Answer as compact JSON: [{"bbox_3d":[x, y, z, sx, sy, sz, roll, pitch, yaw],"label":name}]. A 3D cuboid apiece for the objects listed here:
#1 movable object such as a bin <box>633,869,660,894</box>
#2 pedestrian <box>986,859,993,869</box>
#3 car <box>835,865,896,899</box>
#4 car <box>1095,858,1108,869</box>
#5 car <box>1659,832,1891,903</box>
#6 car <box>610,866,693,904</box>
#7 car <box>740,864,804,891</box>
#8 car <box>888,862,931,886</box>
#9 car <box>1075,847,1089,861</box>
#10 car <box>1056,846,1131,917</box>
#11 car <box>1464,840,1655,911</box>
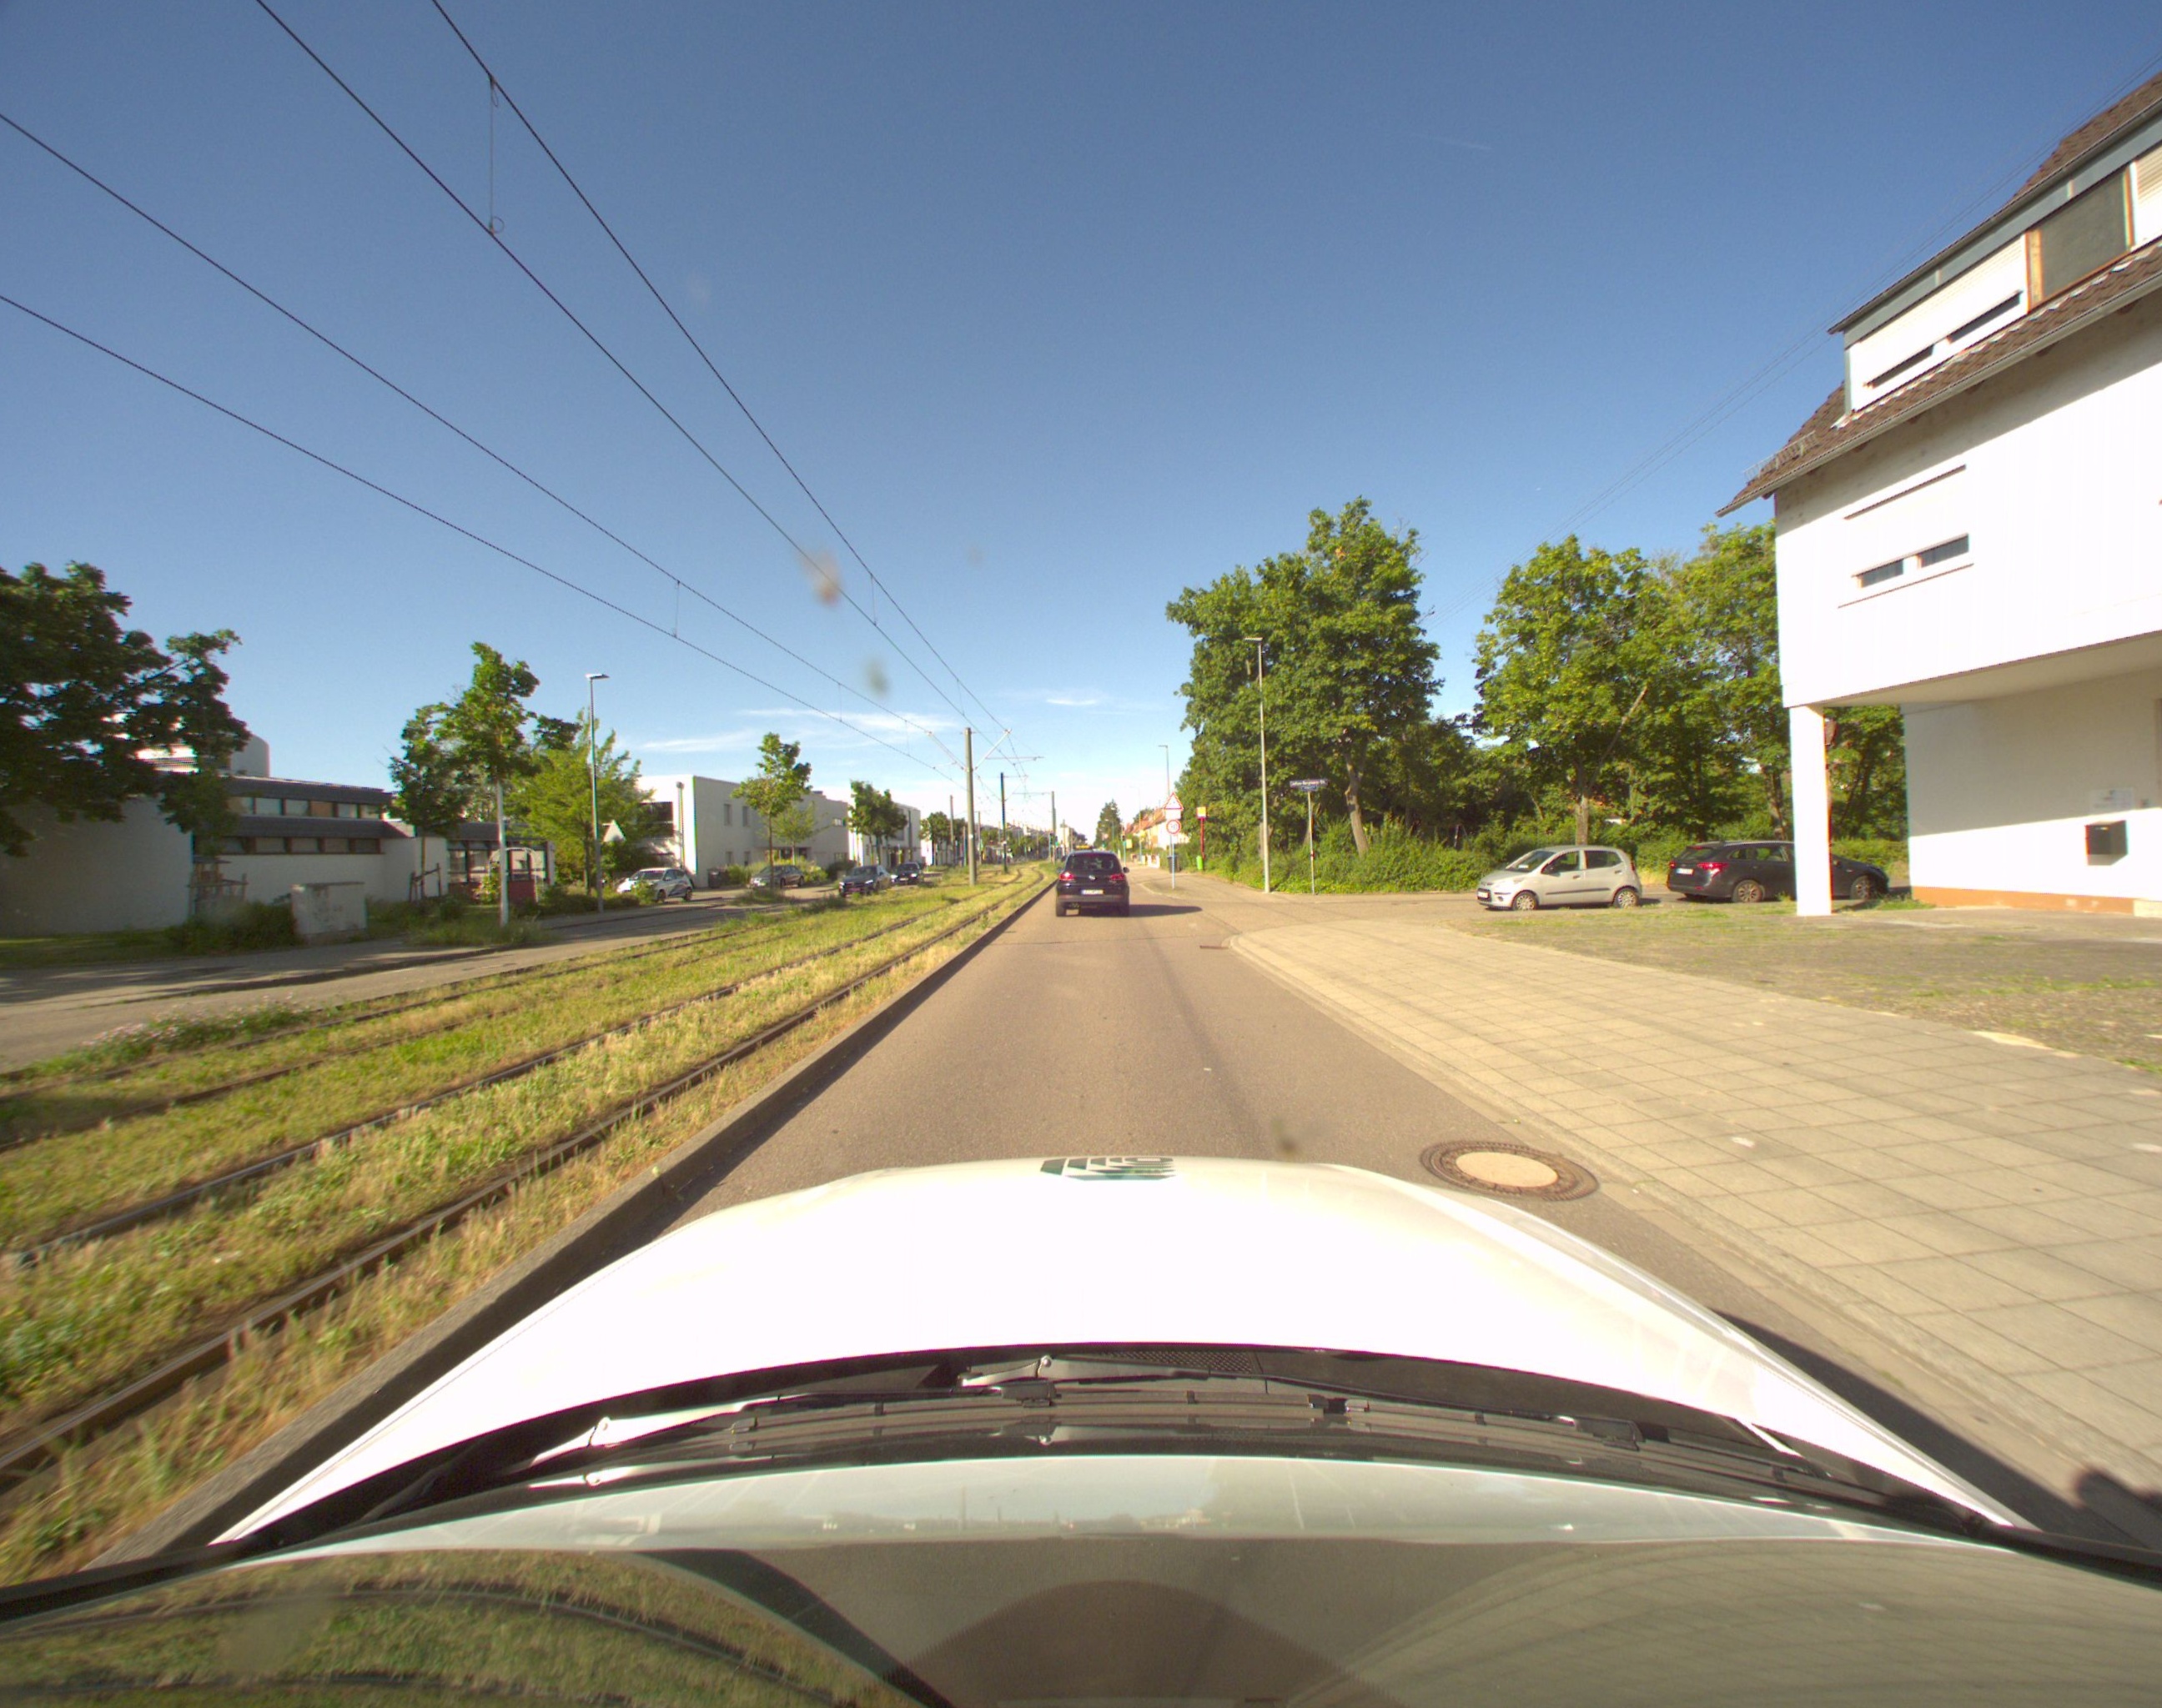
[{"bbox_3d":[-25.460,1.598,47.738,0.660,1.383,1.425,-1,-1,8],"label":"movable object such as a bin"},{"bbox_3d":[-13.609,1.479,120.607,0.884,1.587,0.624,-2,-1,-18],"label":"pedestrian"},{"bbox_3d":[-10.341,1.313,39.356,1.682,1.389,4.387,-4,-1,0],"label":"car"},{"bbox_3d":[3.075,1.476,125.407,1.771,1.670,3.997,-2,0,-1],"label":"car"},{"bbox_3d":[16.453,0.312,19.454,3.987,1.497,1.744,-2,0,1],"label":"car"},{"bbox_3d":[-18.113,1.249,34.518,1.539,1.491,3.774,0,-1,-1],"label":"car"},{"bbox_3d":[-17.957,1.331,47.564,1.802,1.461,4.323,0,-1,5],"label":"car"},{"bbox_3d":[-11.180,1.277,53.528,1.757,1.444,4.915,-4,-1,-1],"label":"car"},{"bbox_3d":[0.214,0.093,158.426,2.386,2.564,5.531,-2,0,1],"label":"car"},{"bbox_3d":[0.252,0.679,21.441,1.771,1.670,3.997,0,-1,-1],"label":"car"},{"bbox_3d":[11.437,0.508,19.641,3.581,1.530,1.647,-2,-1,2],"label":"car"}]
